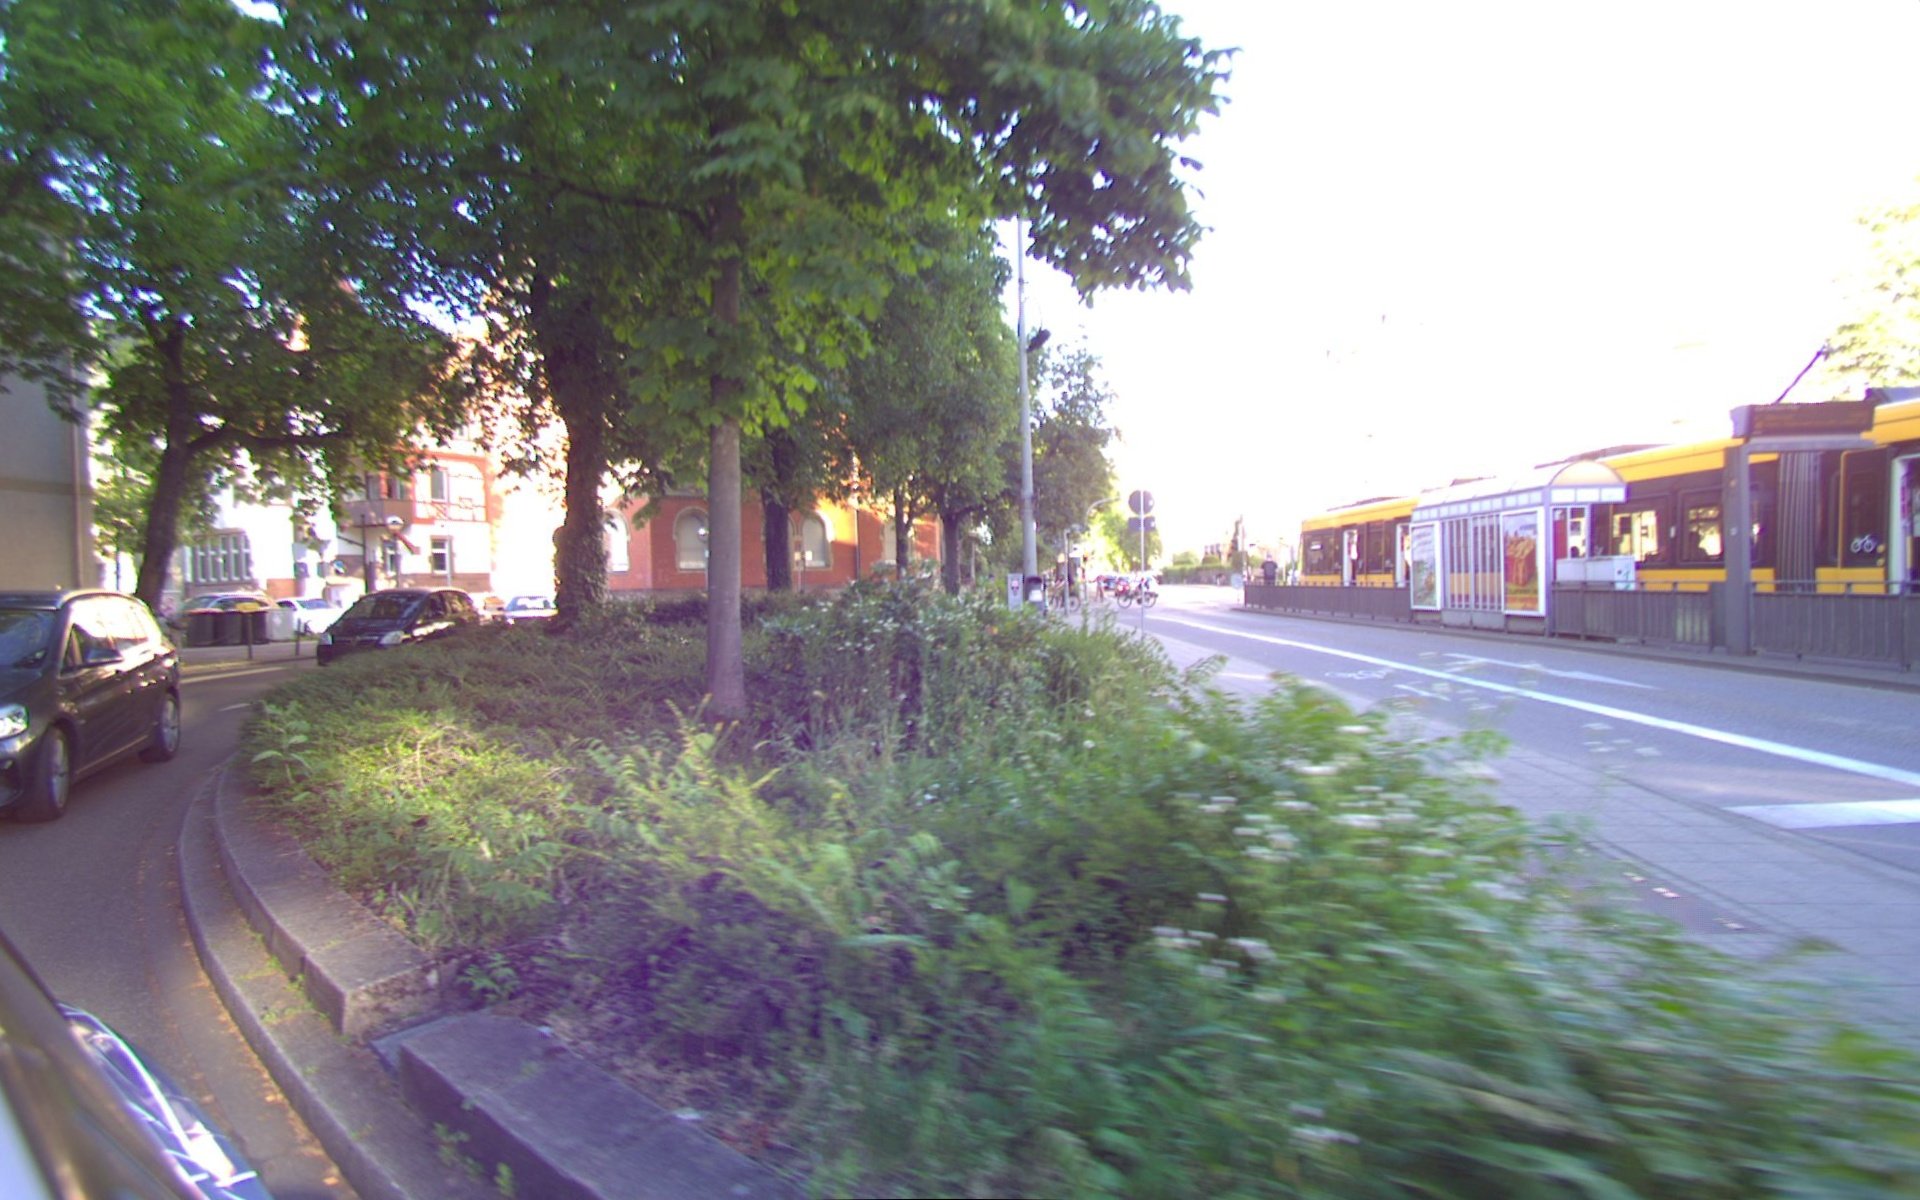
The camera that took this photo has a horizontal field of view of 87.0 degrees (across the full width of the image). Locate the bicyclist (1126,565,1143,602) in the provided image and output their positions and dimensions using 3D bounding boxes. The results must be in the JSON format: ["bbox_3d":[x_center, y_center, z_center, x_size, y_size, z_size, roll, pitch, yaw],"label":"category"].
[{"bbox_3d":[7.665,-0.720,44.498,0.547,1.585,0.599,-2,1,-8],"label":"bicyclist"}]

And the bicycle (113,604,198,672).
[{"bbox_3d":[-16.860,0.760,21.259,0.755,1.314,1.909,-2,1,-18],"label":"bicycle"}]

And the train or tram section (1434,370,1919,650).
[{"bbox_3d":[13.331,-1.323,19.358,2.748,3.614,12.417,-2,1,1],"label":"train or tram section"}]

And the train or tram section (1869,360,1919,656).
[{"bbox_3d":[13.183,-1.082,7.245,2.762,3.646,11.798,-2,1,1],"label":"train or tram section"}]

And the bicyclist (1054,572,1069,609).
[{"bbox_3d":[4.371,-0.410,43.480,0.493,1.585,0.496,-2,1,-10],"label":"bicyclist"}]

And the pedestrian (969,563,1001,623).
[{"bbox_3d":[0.617,-0.181,24.959,0.702,1.454,0.599,-2,1,8],"label":"pedestrian"}]

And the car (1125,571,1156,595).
[{"bbox_3d":[11.231,-1.076,63.312,1.717,1.427,3.990,-2,1,8],"label":"car"}]

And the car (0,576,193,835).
[{"bbox_3d":[-7.561,0.655,7.768,1.763,1.590,4.275,-1,1,-25],"label":"car"}]

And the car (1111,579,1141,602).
[{"bbox_3d":[11.700,-0.711,71.475,1.714,1.427,3.996,-2,3,4],"label":"car"}]

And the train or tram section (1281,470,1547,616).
[{"bbox_3d":[13.493,-1.566,31.919,2.735,3.584,12.679,-2,1,1],"label":"train or tram section"}]

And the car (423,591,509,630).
[{"bbox_3d":[-20.662,0.427,42.320,3.193,1.551,1.482,-1,0,22],"label":"car"}]

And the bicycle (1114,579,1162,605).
[{"bbox_3d":[7.824,-0.352,44.526,1.950,1.065,0.639,-2,1,-8],"label":"bicycle"}]

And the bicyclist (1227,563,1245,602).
[{"bbox_3d":[11.552,-0.724,42.379,0.590,1.585,0.555,-2,1,3],"label":"bicyclist"}]

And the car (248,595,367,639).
[{"bbox_3d":[-25.275,0.668,39.207,4.158,1.564,1.793,-2,0,23],"label":"car"}]

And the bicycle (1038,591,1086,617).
[{"bbox_3d":[4.381,0.167,43.515,1.950,1.065,0.639,-2,1,-10],"label":"bicycle"}]

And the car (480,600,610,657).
[{"bbox_3d":[-11.511,0.743,28.317,1.662,1.419,3.676,0,1,10],"label":"car"}]

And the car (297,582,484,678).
[{"bbox_3d":[-10.872,0.496,19.636,1.656,1.640,3.690,-2,1,-3],"label":"car"}]

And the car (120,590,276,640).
[{"bbox_3d":[-24.881,0.459,33.206,1.663,1.436,3.780,-2,1,19],"label":"car"}]
